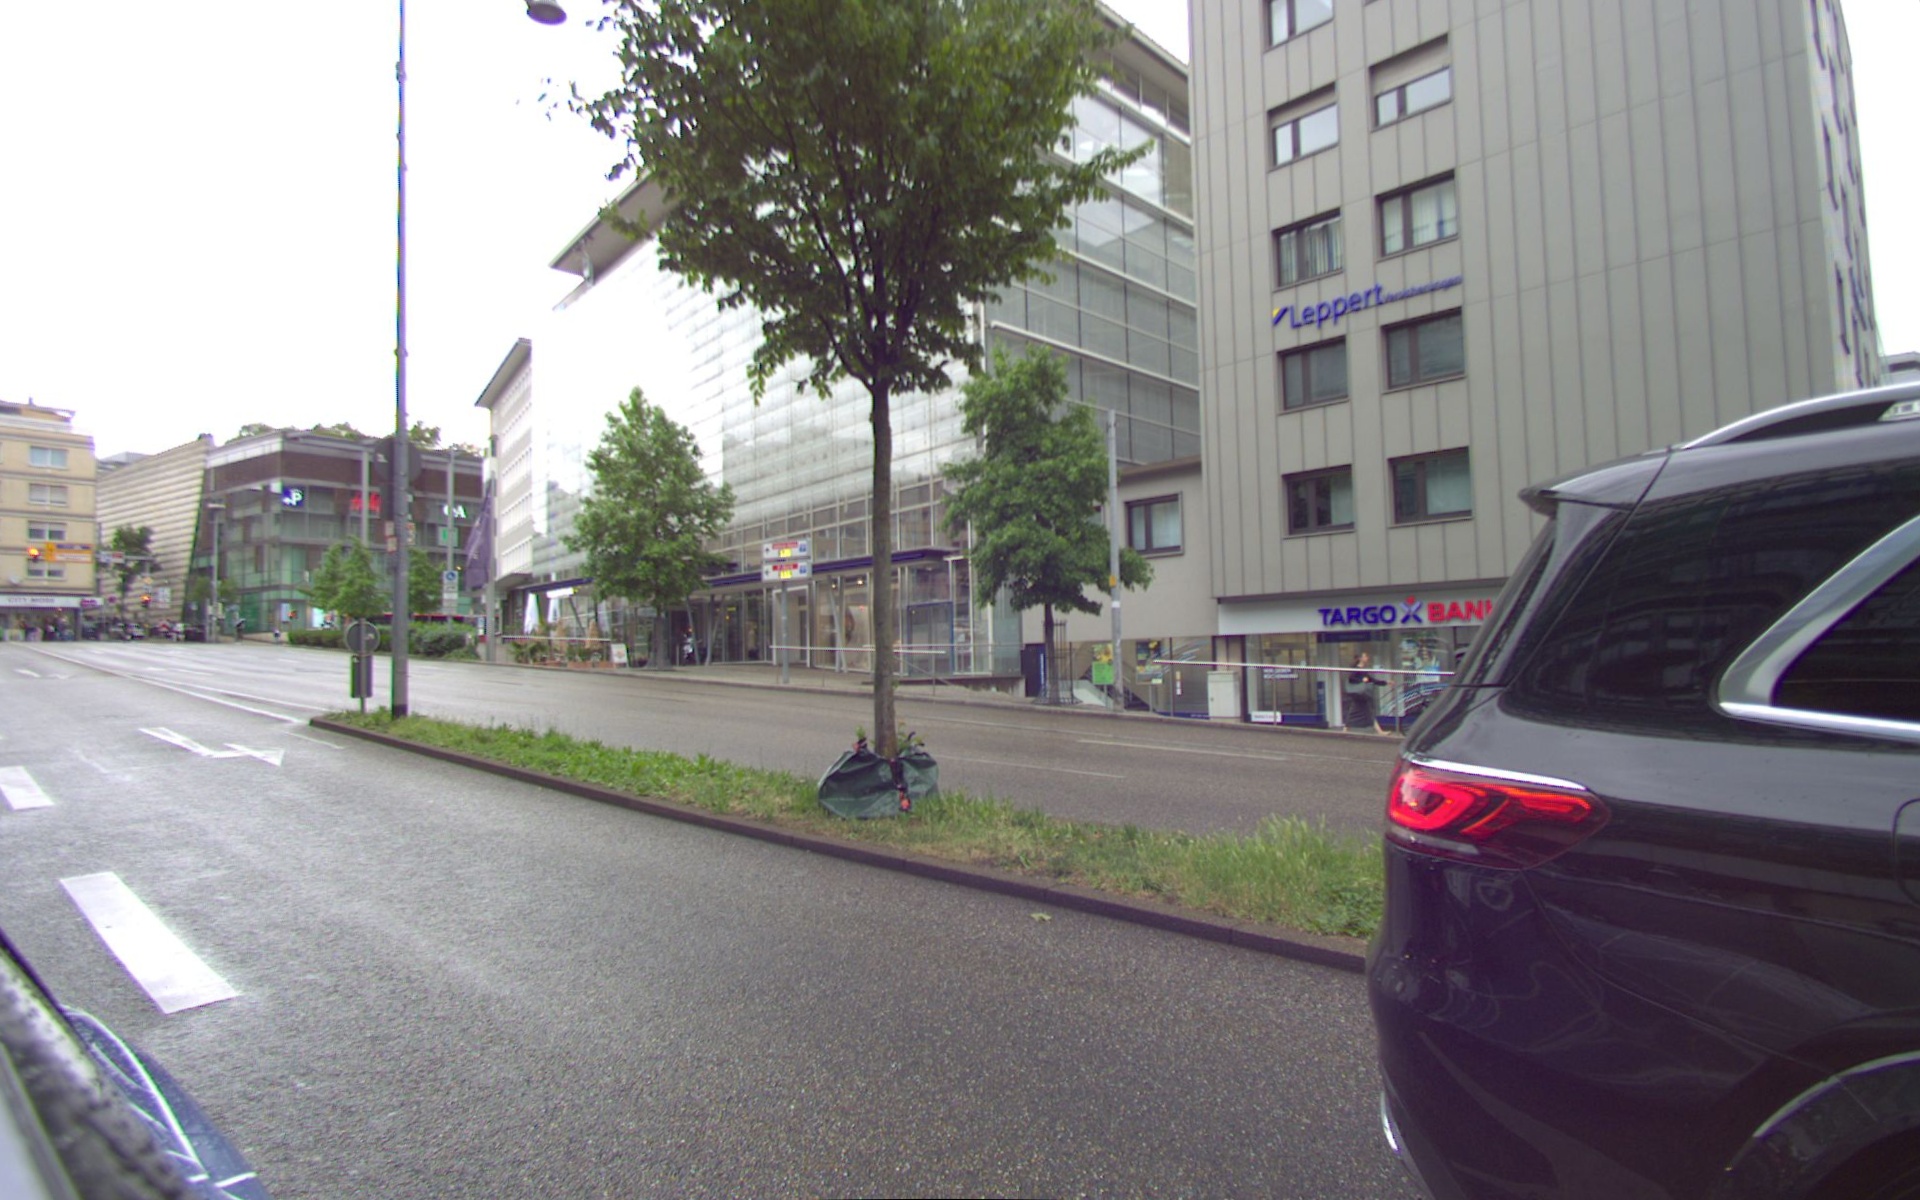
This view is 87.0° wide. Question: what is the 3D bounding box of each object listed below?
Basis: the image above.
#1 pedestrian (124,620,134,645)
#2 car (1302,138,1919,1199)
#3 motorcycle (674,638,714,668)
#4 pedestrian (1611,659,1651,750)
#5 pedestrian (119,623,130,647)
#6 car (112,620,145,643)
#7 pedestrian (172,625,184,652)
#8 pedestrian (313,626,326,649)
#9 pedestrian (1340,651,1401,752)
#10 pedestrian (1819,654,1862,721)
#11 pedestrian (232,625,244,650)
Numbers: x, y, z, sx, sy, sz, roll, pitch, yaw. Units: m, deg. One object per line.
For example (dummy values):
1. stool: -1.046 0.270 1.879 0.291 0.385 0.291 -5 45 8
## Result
1. pedestrian: -55.608 2.179 67.694 0.603 1.642 0.422 -1 -3 45
2. car: 3.112 0.383 0.795 5.069 1.884 1.892 0 0 40
3. motorcycle: -12.138 2.432 46.145 0.620 1.336 1.685 -1 -3 41
4. pedestrian: 13.017 2.010 19.656 0.634 1.649 0.781 0 0 34
5. pedestrian: -57.427 2.391 69.568 0.602 1.642 0.422 -1 -3 44
6. car: -77.687 2.923 94.563 1.970 2.029 4.591 3 -3 -44
7. pedestrian: -54.409 2.668 70.383 0.617 1.788 0.689 0 0 -43
8. pedestrian: -46.684 2.752 73.745 0.602 1.642 0.625 -1 -3 42
9. pedestrian: 7.132 1.739 17.600 0.626 1.649 0.791 0 0 -41
10. pedestrian: 23.285 2.306 26.779 0.724 1.710 0.781 0 -3 34
11. pedestrian: -51.987 2.671 72.833 0.618 1.788 0.689 0 0 -45
